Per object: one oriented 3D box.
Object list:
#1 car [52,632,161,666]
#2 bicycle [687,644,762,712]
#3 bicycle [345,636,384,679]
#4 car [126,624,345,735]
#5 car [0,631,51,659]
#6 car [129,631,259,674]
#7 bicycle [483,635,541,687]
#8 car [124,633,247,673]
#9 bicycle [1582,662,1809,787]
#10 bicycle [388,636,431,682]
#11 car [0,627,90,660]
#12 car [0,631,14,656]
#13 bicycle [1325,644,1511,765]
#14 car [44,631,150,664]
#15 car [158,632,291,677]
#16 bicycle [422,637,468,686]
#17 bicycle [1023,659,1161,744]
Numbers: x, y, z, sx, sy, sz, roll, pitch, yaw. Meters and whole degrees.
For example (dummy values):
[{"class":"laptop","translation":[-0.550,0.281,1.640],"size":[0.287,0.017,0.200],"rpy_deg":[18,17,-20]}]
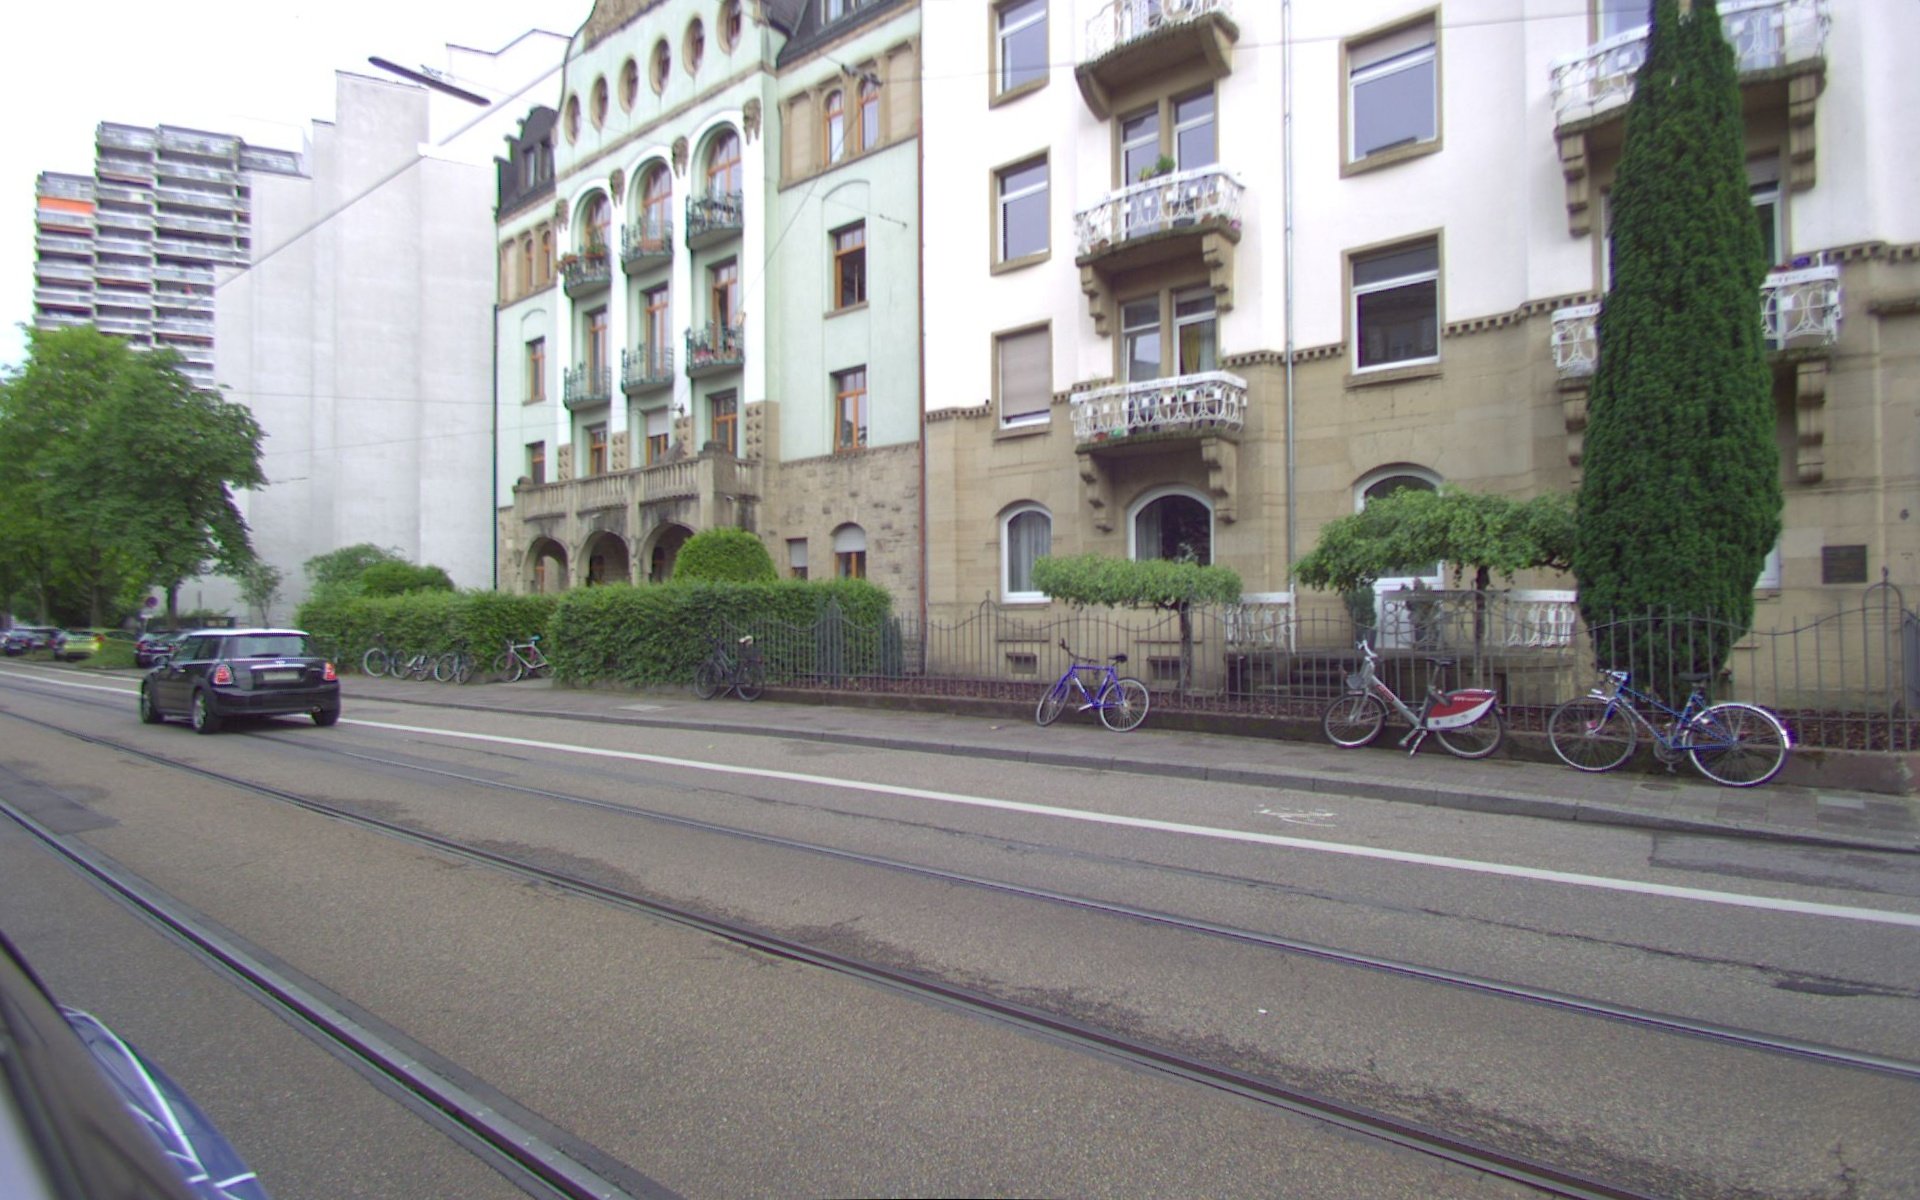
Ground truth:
[{"class":"car","translation":[-37.532,2.108,44.641],"size":[1.670,1.405,4.004],"rpy_deg":[0,-2,-4]},{"class":"bicycle","translation":[-3.963,1.286,16.954],"size":[1.545,1.092,0.356],"rpy_deg":[-2,-2,39]},{"class":"bicycle","translation":[-15.584,1.483,26.457],"size":[1.545,1.092,0.356],"rpy_deg":[-2,-2,39]},{"class":"car","translation":[-10.645,1.098,14.811],"size":[3.480,1.433,1.594],"rpy_deg":[-2,-3,37]},{"class":"car","translation":[-57.649,2.714,61.363],"size":[1.670,1.632,4.004],"rpy_deg":[0,-2,-4]},{"class":"car","translation":[-27.247,1.833,36.171],"size":[1.671,1.414,4.000],"rpy_deg":[0,-2,-1]},{"class":"bicycle","translation":[-10.312,1.394,23.305],"size":[0.300,1.091,1.190],"rpy_deg":[-2,0,41]},{"class":"car","translation":[-29.390,1.985,38.552],"size":[1.671,1.414,4.000],"rpy_deg":[0,-2,-1]},{"class":"bicycle","translation":[6.189,1.015,8.578],"size":[1.513,0.945,0.329],"rpy_deg":[-2,-2,39]},{"class":"bicycle","translation":[-13.433,1.429,24.676],"size":[1.545,1.092,0.356],"rpy_deg":[-2,-2,39]},{"class":"car","translation":[-47.595,2.238,52.492],"size":[1.670,1.632,4.004],"rpy_deg":[0,-2,-4]},{"class":"car","translation":[-65.487,2.907,67.286],"size":[1.670,1.632,4.004],"rpy_deg":[0,-2,-4]},{"class":"bicycle","translation":[4.468,0.992,9.934],"size":[1.617,1.110,0.382],"rpy_deg":[-1,-2,28]},{"class":"car","translation":[-39.748,2.171,46.747],"size":[1.670,1.453,4.004],"rpy_deg":[0,-2,-4]},{"class":"car","translation":[-24.944,1.817,34.519],"size":[1.671,1.414,4.000],"rpy_deg":[0,-2,-1]},{"class":"bicycle","translation":[-11.875,1.396,23.334],"size":[1.545,1.092,0.356],"rpy_deg":[-2,-2,39]},{"class":"bicycle","translation":[1.610,1.230,12.507],"size":[1.660,0.935,0.354],"rpy_deg":[-3,-22,42]}]
